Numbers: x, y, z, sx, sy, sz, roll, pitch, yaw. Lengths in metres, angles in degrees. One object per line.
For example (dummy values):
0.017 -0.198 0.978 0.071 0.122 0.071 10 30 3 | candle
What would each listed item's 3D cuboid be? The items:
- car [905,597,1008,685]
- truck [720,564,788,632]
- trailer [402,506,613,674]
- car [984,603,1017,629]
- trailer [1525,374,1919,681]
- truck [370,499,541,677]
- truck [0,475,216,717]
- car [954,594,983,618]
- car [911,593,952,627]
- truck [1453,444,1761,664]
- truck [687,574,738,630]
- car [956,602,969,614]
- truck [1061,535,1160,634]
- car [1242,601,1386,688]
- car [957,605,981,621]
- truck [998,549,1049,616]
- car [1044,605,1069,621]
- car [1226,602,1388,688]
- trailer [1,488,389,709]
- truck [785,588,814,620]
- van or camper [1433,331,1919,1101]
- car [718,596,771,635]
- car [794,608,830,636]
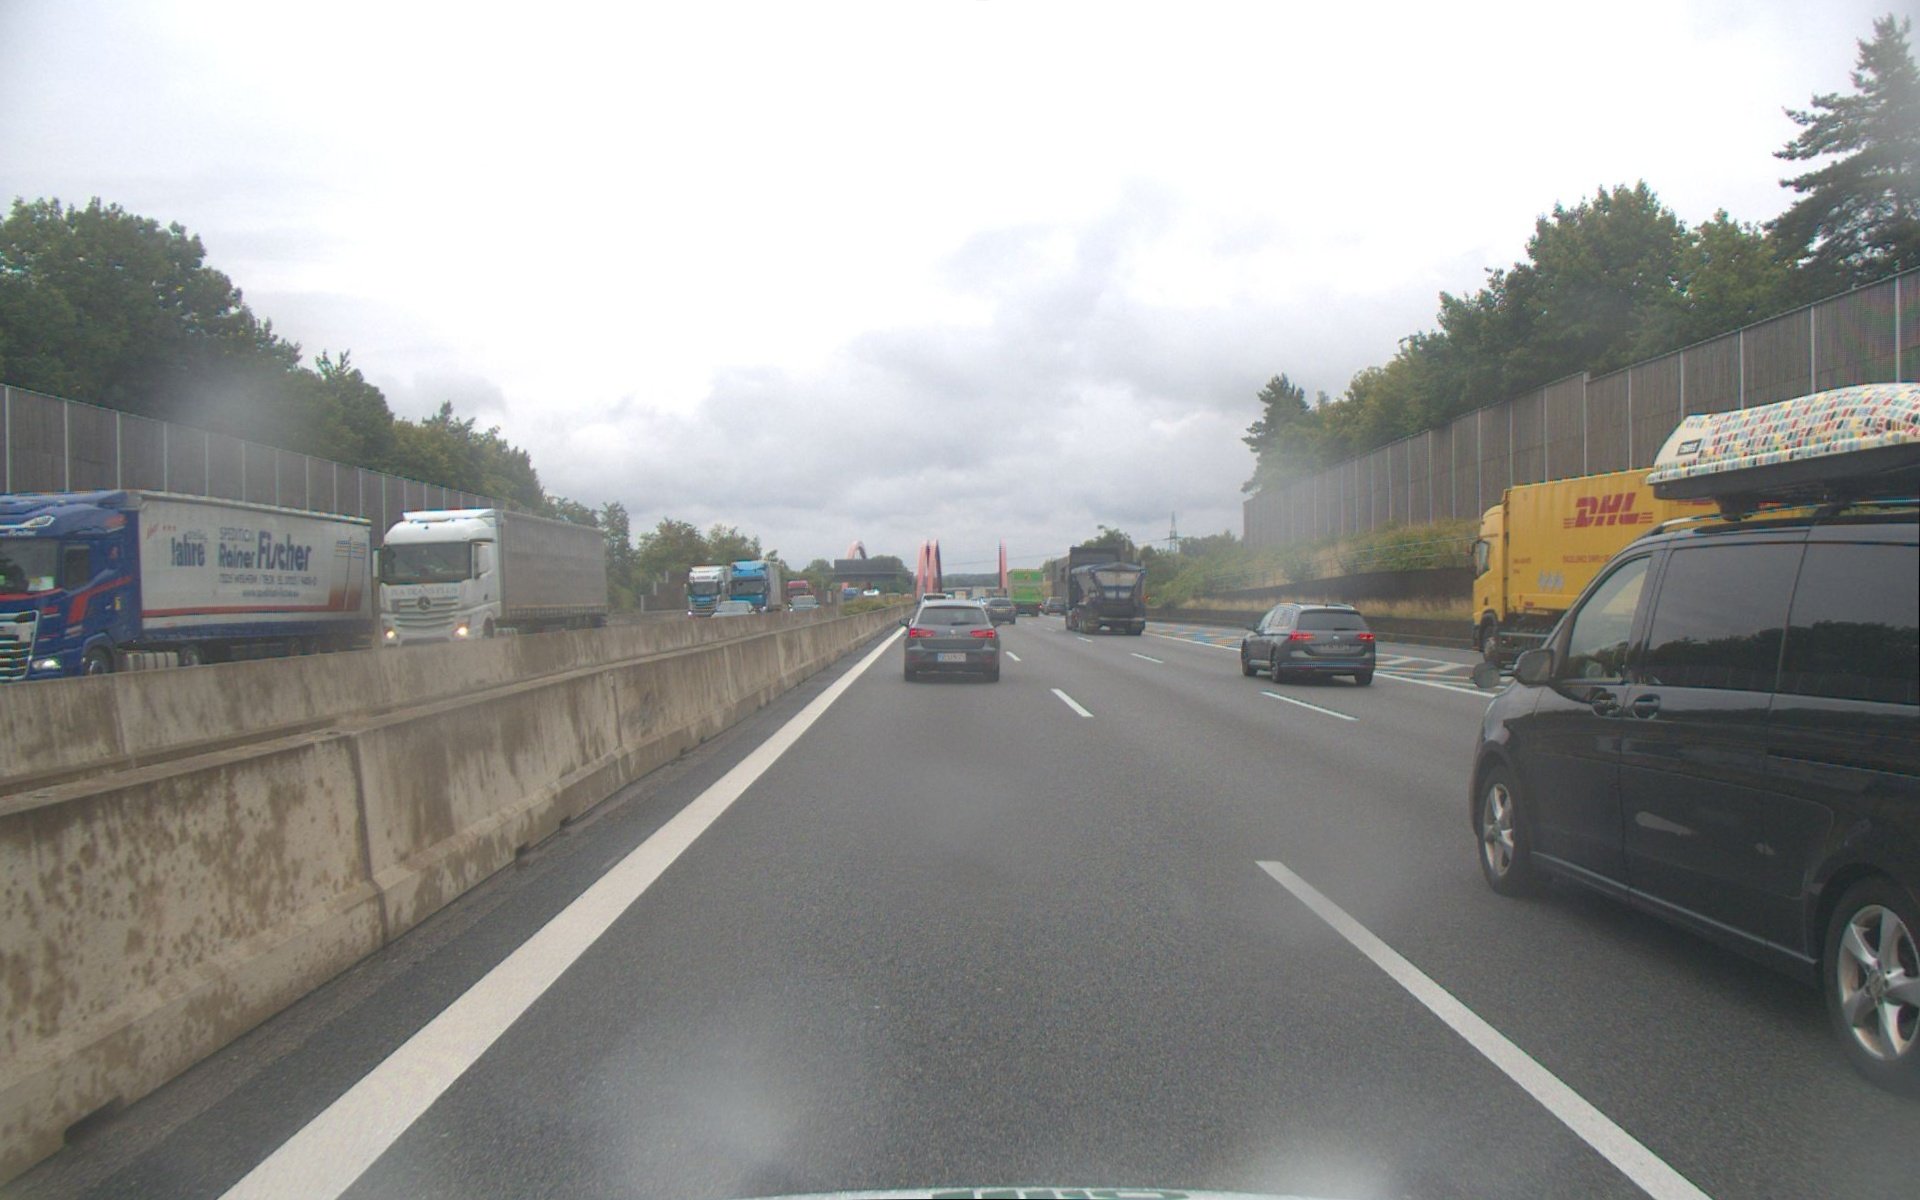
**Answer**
-0.114 0.701 30.194 1.728 1.478 3.999 1 0 -2 | car
-14.182 -0.076 114.762 3.087 4.400 12.678 1 0 0 | truck
-13.492 -0.235 50.933 2.723 4.400 14.020 1 0 -1 | trailer
2.253 0.887 93.392 1.745 1.431 3.625 0 0 -1 | car
13.693 -0.893 27.178 2.597 4.022 16.679 1 0 -2 | trailer
-13.392 -0.272 44.433 2.723 4.400 6.096 1 0 -1 | truck
-17.766 -0.046 33.098 3.026 4.400 6.096 -1 0 -1 | truck
0.586 0.400 114.867 1.953 1.691 3.999 0 0 -1 | car
-1.425 0.493 82.069 1.953 1.613 3.999 -1 0 -1 | car
13.419 -0.823 35.391 2.631 4.027 9.322 1 0 -2 | truck
-17.649 0.143 118.221 2.830 3.862 5.888 -1 0 -1 | truck
0.350 1.207 248.348 1.953 1.847 4.000 1 0 0 | car
6.551 -0.581 74.210 3.026 4.019 12.941 -1 0 -1 | truck
6.572 0.791 31.129 1.629 1.482 4.469 1 0 -2 | car
0.792 1.139 145.975 1.953 1.378 3.999 -1 0 -1 | car
5.277 -1.432 140.152 3.915 5.358 11.219 -1 0 0 | truck
8.939 1.205 153.576 1.953 1.378 3.999 -1 0 -1 | car
6.484 0.786 31.536 1.900 1.452 5.288 1 0 -1 | car
-17.881 0.012 40.486 3.026 4.400 14.335 -1 0 -1 | trailer
-19.486 0.506 200.962 2.640 3.771 6.481 1 0 2 | truck
3.781 0.370 6.939 1.852 2.309 5.678 1 0 -1 | van or camper
-9.982 0.683 76.859 1.932 1.719 4.356 -1 0 -1 | car
-9.683 1.422 108.604 1.953 1.766 5.001 -1 0 -1 | car
